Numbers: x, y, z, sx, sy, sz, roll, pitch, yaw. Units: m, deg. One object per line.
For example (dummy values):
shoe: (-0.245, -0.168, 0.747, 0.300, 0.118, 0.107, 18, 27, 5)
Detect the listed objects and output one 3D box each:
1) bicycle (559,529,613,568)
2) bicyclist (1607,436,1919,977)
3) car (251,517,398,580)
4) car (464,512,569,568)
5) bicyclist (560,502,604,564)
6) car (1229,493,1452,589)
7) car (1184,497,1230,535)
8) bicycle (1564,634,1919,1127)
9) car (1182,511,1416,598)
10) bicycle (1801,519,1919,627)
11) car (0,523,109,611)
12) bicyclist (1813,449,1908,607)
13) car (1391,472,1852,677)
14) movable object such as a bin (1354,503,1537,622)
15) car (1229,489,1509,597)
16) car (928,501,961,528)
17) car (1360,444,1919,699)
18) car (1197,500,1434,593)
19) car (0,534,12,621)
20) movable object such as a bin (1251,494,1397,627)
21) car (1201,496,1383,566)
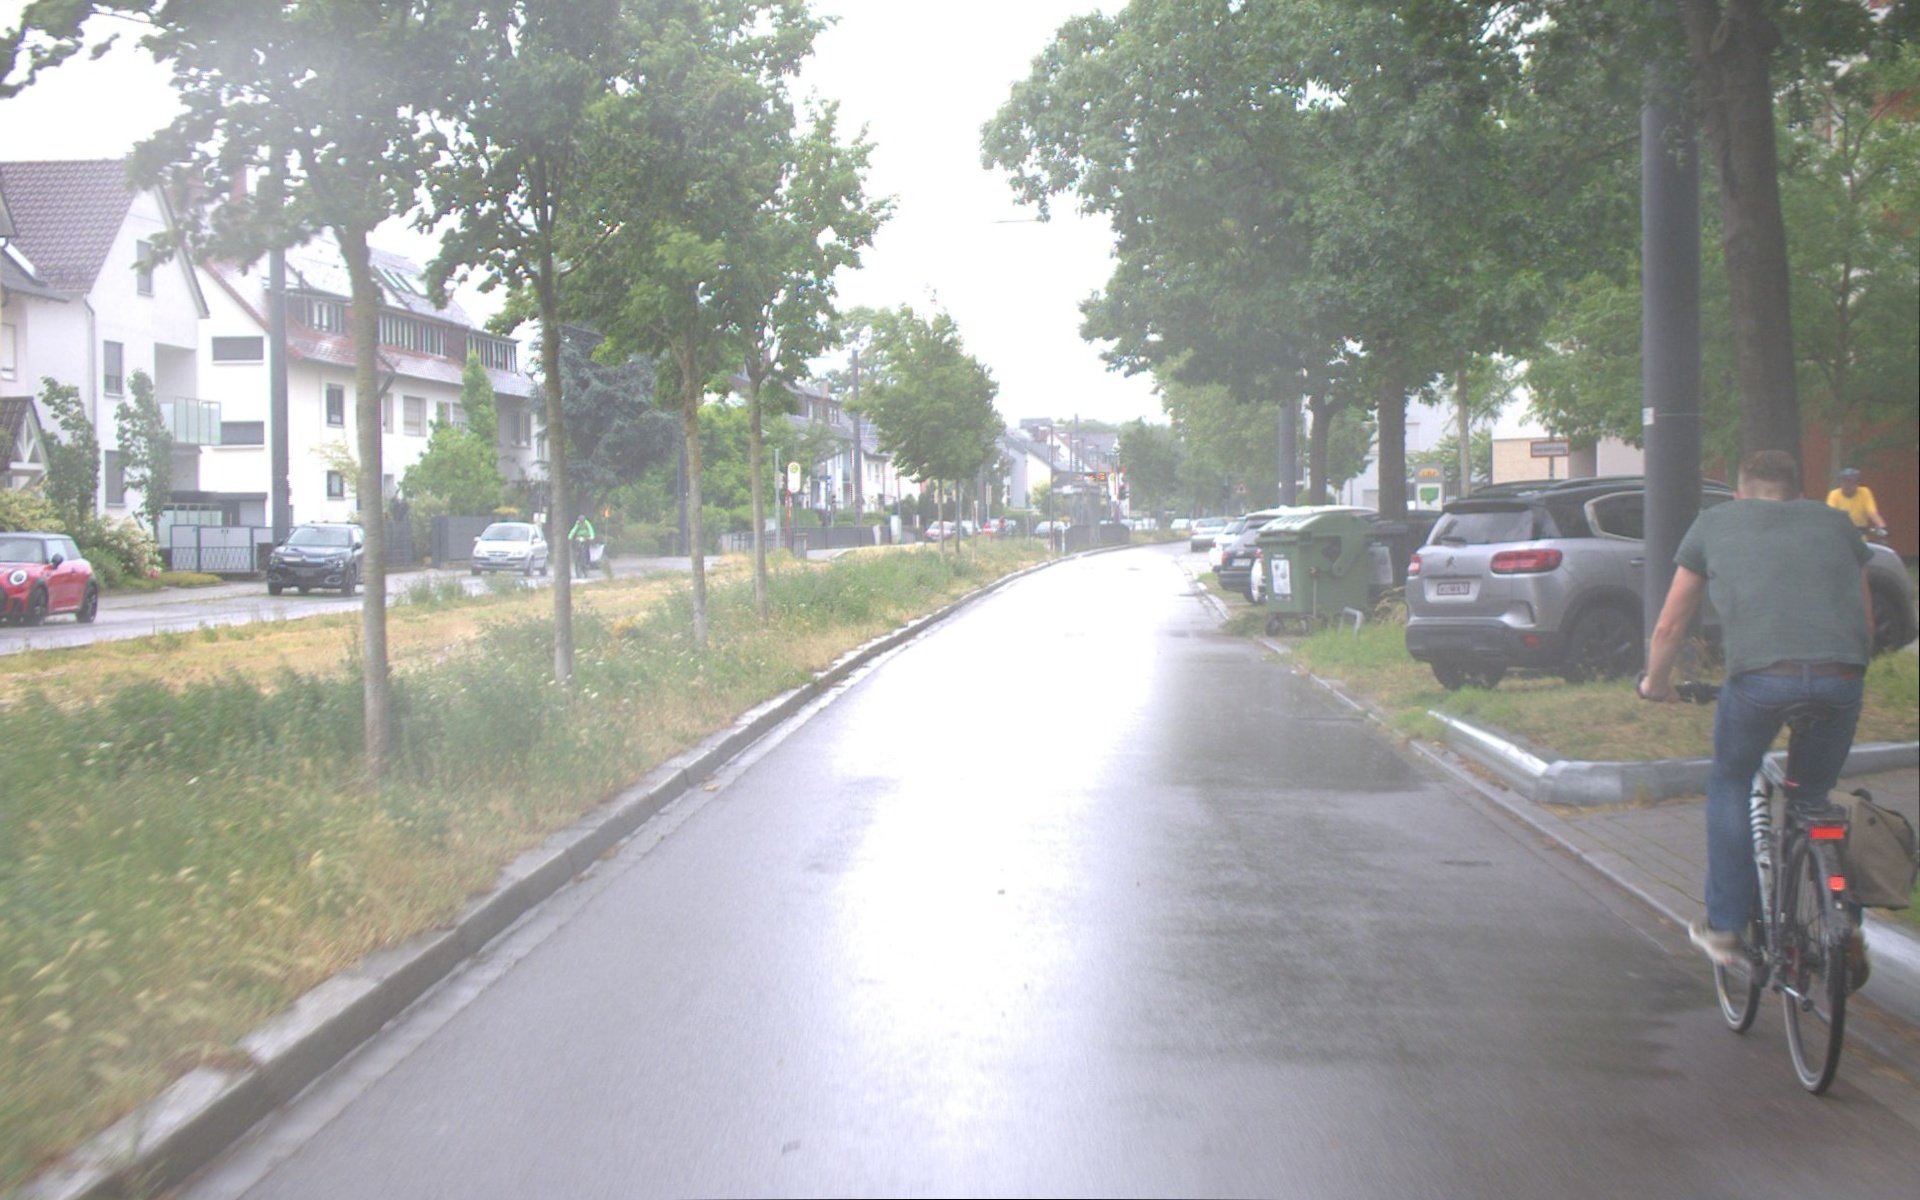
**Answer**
bicycle: (-10.335, -1.432, 95.079, 1.018, 1.024, 3.197, -1, 2, 2)
bicyclist: (2.339, 0.266, 9.670, 0.809, 1.428, 1.060, -1, 1, 0)
car: (-13.620, -1.130, 73.946, 1.897, 1.240, 4.687, 2, 2, 5)
car: (-12.391, -1.692, 96.274, 1.897, 1.464, 4.687, 2, 2, 5)
bicyclist: (-10.359, -1.832, 94.315, 1.018, 1.679, 1.092, -1, 1, 2)
car: (7.072, -1.115, 63.799, 4.028, 1.697, 1.585, -2, 2, -34)
car: (10.649, -3.639, 148.226, 1.833, 1.580, 4.000, -1, 2, 2)
bicycle: (2.343, 0.699, 9.662, 0.809, 1.093, 2.517, -1, 2, 0)
car: (6.009, -0.818, 60.761, 4.028, 1.438, 1.585, -2, 2, -34)
bicycle: (9.241, -0.293, 35.358, 0.735, 1.052, 2.051, -1, 2, 2)
car: (-14.588, -0.529, 53.253, 1.674, 1.240, 3.855, 2, 2, 3)
bicyclist: (9.235, -0.744, 35.273, 0.735, 1.588, 0.944, -1, 2, 2)
car: (5.882, -0.262, 30.432, 3.874, 1.561, 1.732, -4, 3, -34)
movable object such as a bin: (5.831, -0.466, 41.394, 1.681, 1.321, 1.401, -4, 2, -19)
car: (6.108, -0.871, 51.235, 4.028, 1.514, 1.585, -2, 2, -32)
car: (-0.949, -5.339, 214.499, 1.843, 1.666, 4.000, -1, 2, 2)
car: (5.502, -0.276, 27.467, 4.135, 1.713, 2.000, -4, 3, -30)
car: (5.905, -0.902, 56.885, 4.030, 1.438, 1.585, -2, 2, -41)
car: (-14.735, -0.300, 48.072, 1.663, 1.240, 4.071, 2, 2, 2)
movable object such as a bin: (4.347, -0.487, 41.147, 1.125, 1.452, 1.401, -7, 3, -18)
car: (7.558, -1.579, 78.223, 4.028, 1.508, 1.585, -2, 2, -34)
